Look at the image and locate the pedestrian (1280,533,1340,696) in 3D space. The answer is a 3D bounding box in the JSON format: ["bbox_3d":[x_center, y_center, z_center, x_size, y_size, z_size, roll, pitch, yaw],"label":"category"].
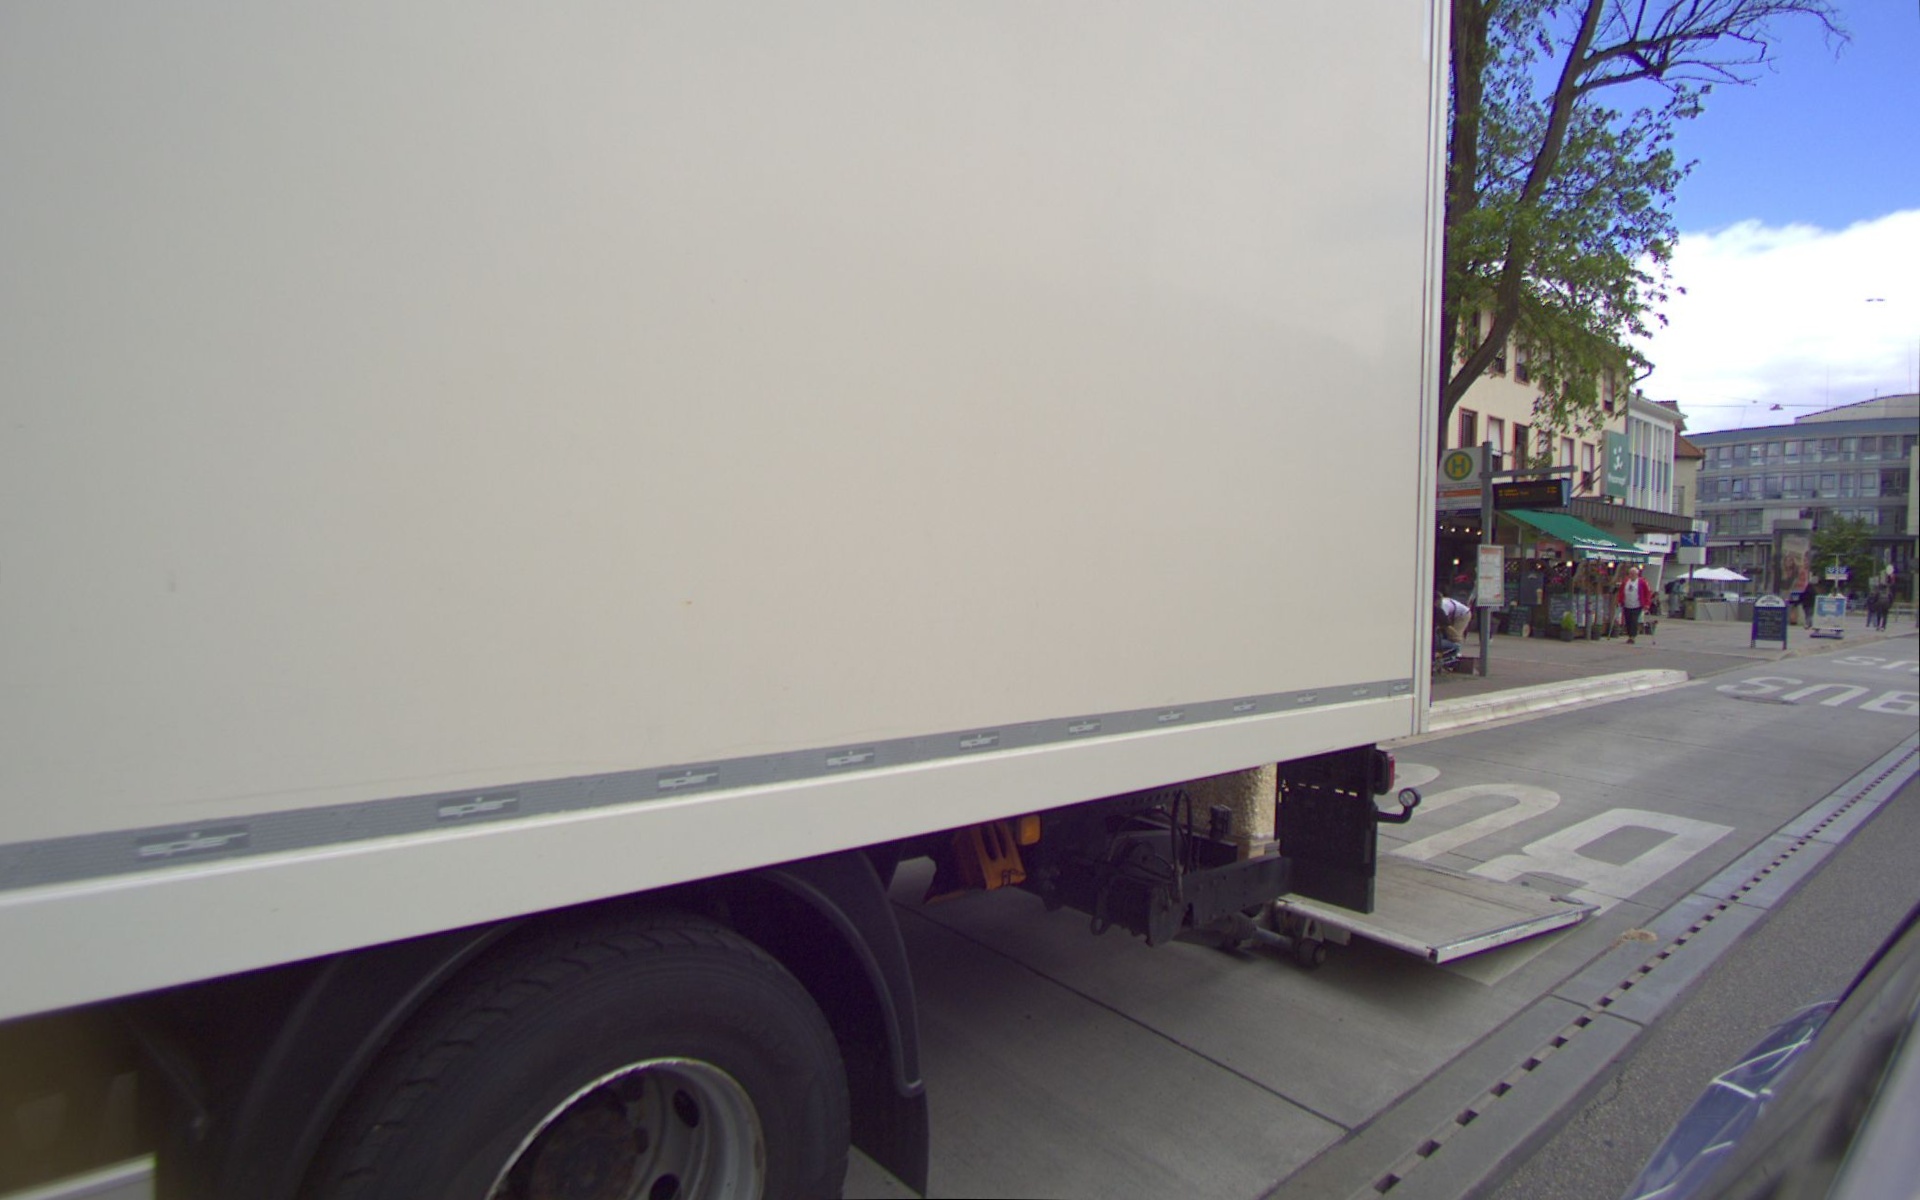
[{"bbox_3d":[3.695,0.150,10.684,0.530,1.655,0.583,-1,-1,25],"label":"pedestrian"}]

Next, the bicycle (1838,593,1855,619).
[{"bbox_3d":[37.476,0.244,42.782,1.362,1.066,0.274,0,2,-40],"label":"bicycle"}]

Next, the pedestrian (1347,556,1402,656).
[{"bbox_3d":[7.022,0.087,17.153,0.577,1.655,0.615,1,1,-36],"label":"pedestrian"}]

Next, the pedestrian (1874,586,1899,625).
[{"bbox_3d":[41.107,0.239,44.902,0.838,1.654,0.689,1,2,-42],"label":"pedestrian"}]

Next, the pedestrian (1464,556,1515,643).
[{"bbox_3d":[11.215,-0.030,21.423,0.683,1.762,0.770,5,5,44],"label":"pedestrian"}]

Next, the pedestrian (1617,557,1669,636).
[{"bbox_3d":[15.830,-0.103,23.452,0.795,1.762,0.770,5,5,44],"label":"pedestrian"}]

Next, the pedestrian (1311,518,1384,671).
[{"bbox_3d":[5.386,-0.094,14.079,0.576,2.071,0.616,0,3,-27],"label":"pedestrian"}]

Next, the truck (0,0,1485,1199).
[{"bbox_3d":[-2.788,-0.538,1.196,9.596,3.605,2.694,0,2,-41],"label":"truck"}]

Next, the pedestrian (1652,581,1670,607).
[{"bbox_3d":[33.927,-0.285,48.980,0.578,1.236,0.613,1,-1,-43],"label":"pedestrian"}]

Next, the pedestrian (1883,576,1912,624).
[{"bbox_3d":[33.879,-0.001,36.586,0.604,1.698,0.614,1,2,-39],"label":"pedestrian"}]

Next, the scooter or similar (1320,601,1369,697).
[{"bbox_3d":[4.065,0.511,10.723,0.379,0.970,0.355,2,2,8],"label":"scooter or similar"}]

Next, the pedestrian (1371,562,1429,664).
[{"bbox_3d":[7.037,0.197,16.213,0.481,1.587,0.676,2,-1,-21],"label":"pedestrian"}]

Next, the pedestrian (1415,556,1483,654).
[{"bbox_3d":[8.601,0.080,17.793,0.778,1.654,0.616,2,4,-29],"label":"pedestrian"}]

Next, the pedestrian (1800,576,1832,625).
[{"bbox_3d":[29.780,0.000,35.228,0.605,1.654,0.719,-1,3,-43],"label":"pedestrian"}]

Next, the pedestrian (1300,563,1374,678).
[{"bbox_3d":[4.892,0.250,13.148,0.576,1.417,0.616,0,4,-27],"label":"pedestrian"}]

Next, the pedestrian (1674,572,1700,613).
[{"bbox_3d":[30.199,-0.319,42.041,0.787,1.655,0.667,0,2,-43],"label":"pedestrian"}]

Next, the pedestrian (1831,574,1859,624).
[{"bbox_3d":[30.348,-0.045,34.706,0.605,1.654,0.613,-1,3,-43],"label":"pedestrian"}]

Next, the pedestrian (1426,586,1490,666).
[{"bbox_3d":[7.596,0.383,15.433,0.711,1.180,0.579,2,0,43],"label":"pedestrian"}]

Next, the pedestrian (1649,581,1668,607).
[{"bbox_3d":[33.496,-0.282,48.532,0.578,1.235,0.614,1,3,-43],"label":"pedestrian"}]

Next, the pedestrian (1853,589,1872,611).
[{"bbox_3d":[67.167,-0.012,75.290,0.834,1.655,0.642,-1,-1,16],"label":"pedestrian"}]
